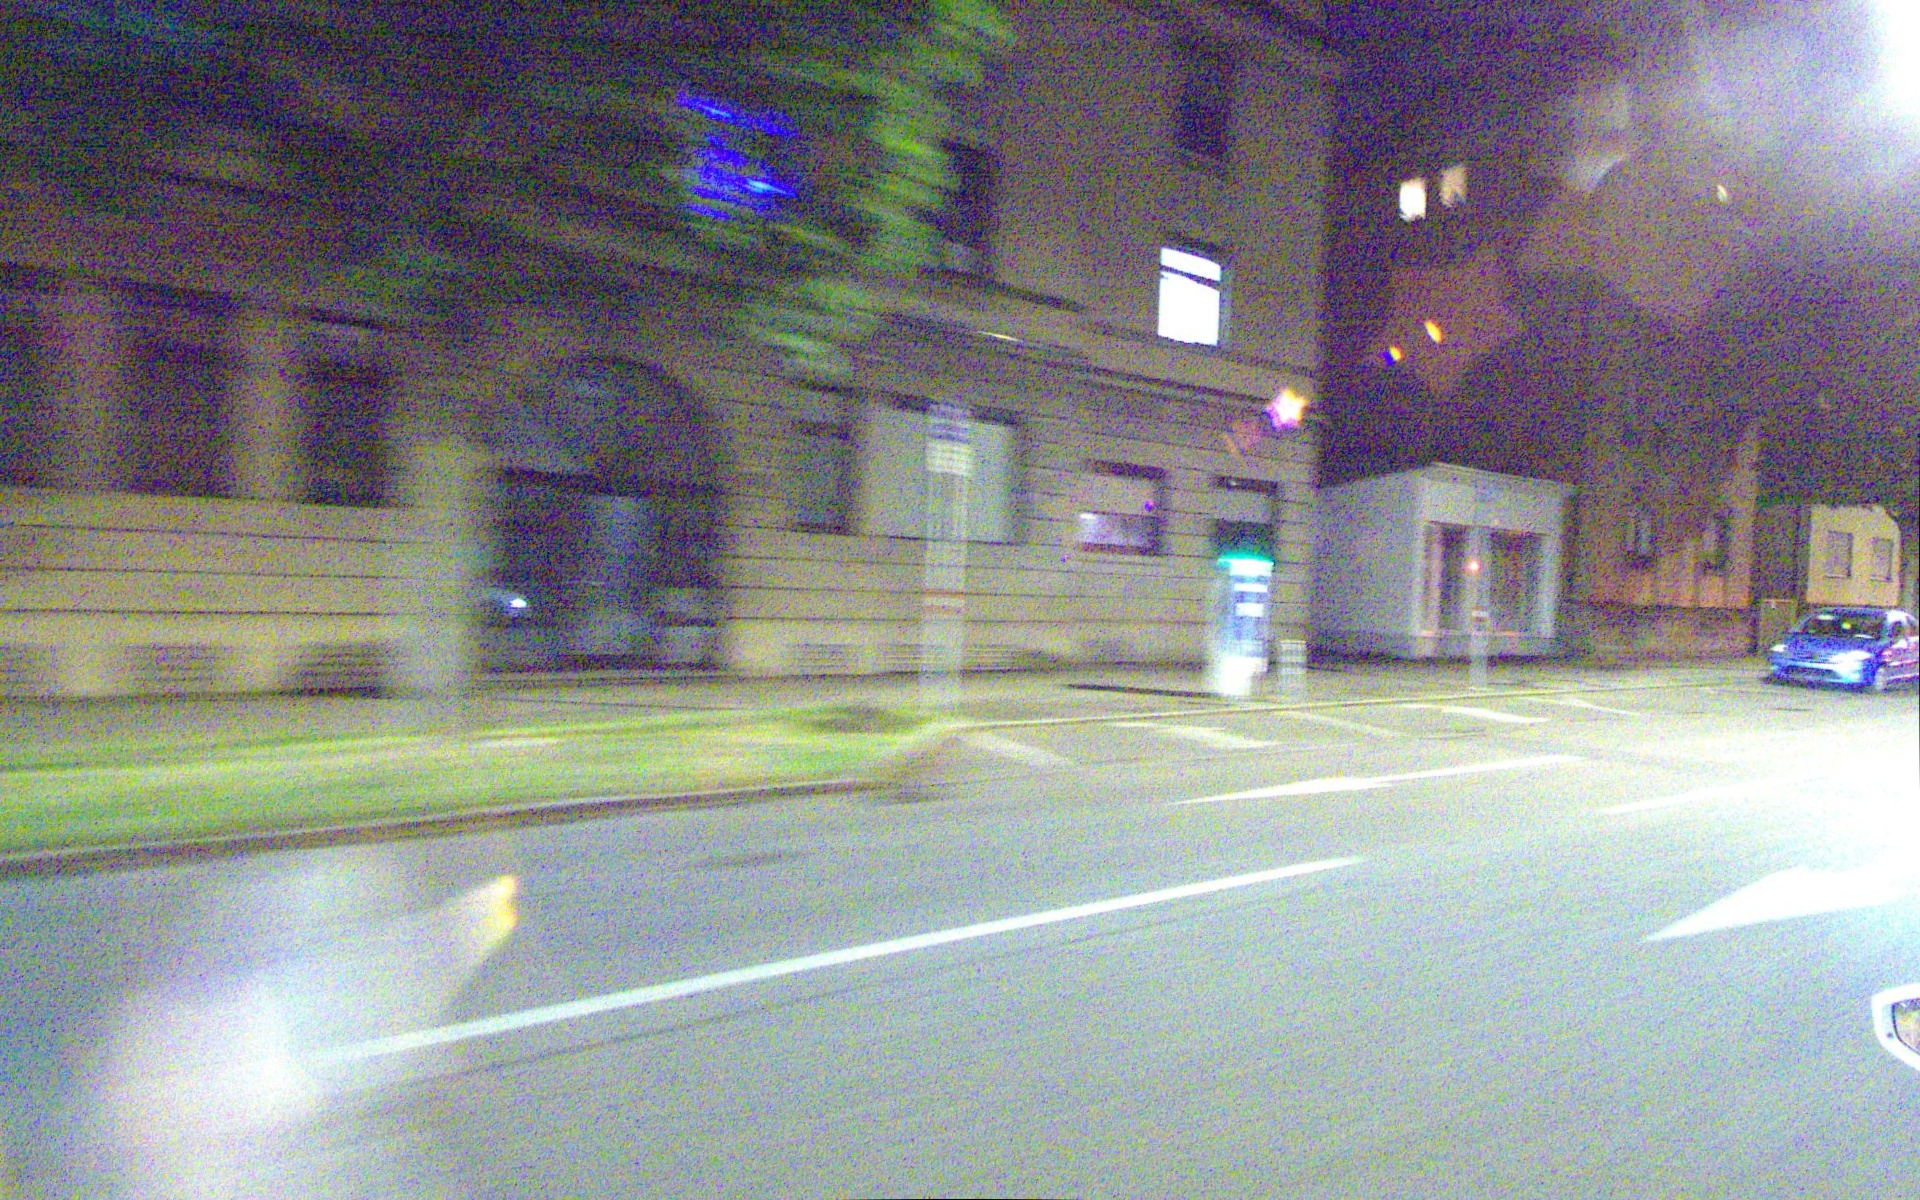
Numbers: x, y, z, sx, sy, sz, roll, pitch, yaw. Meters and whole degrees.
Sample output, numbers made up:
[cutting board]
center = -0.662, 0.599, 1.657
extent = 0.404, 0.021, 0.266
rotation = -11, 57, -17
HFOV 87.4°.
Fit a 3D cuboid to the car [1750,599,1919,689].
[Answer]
[car]
center = 17.208, 0.803, 19.474
extent = 3.946, 1.514, 1.704
rotation = 1, 2, -32
